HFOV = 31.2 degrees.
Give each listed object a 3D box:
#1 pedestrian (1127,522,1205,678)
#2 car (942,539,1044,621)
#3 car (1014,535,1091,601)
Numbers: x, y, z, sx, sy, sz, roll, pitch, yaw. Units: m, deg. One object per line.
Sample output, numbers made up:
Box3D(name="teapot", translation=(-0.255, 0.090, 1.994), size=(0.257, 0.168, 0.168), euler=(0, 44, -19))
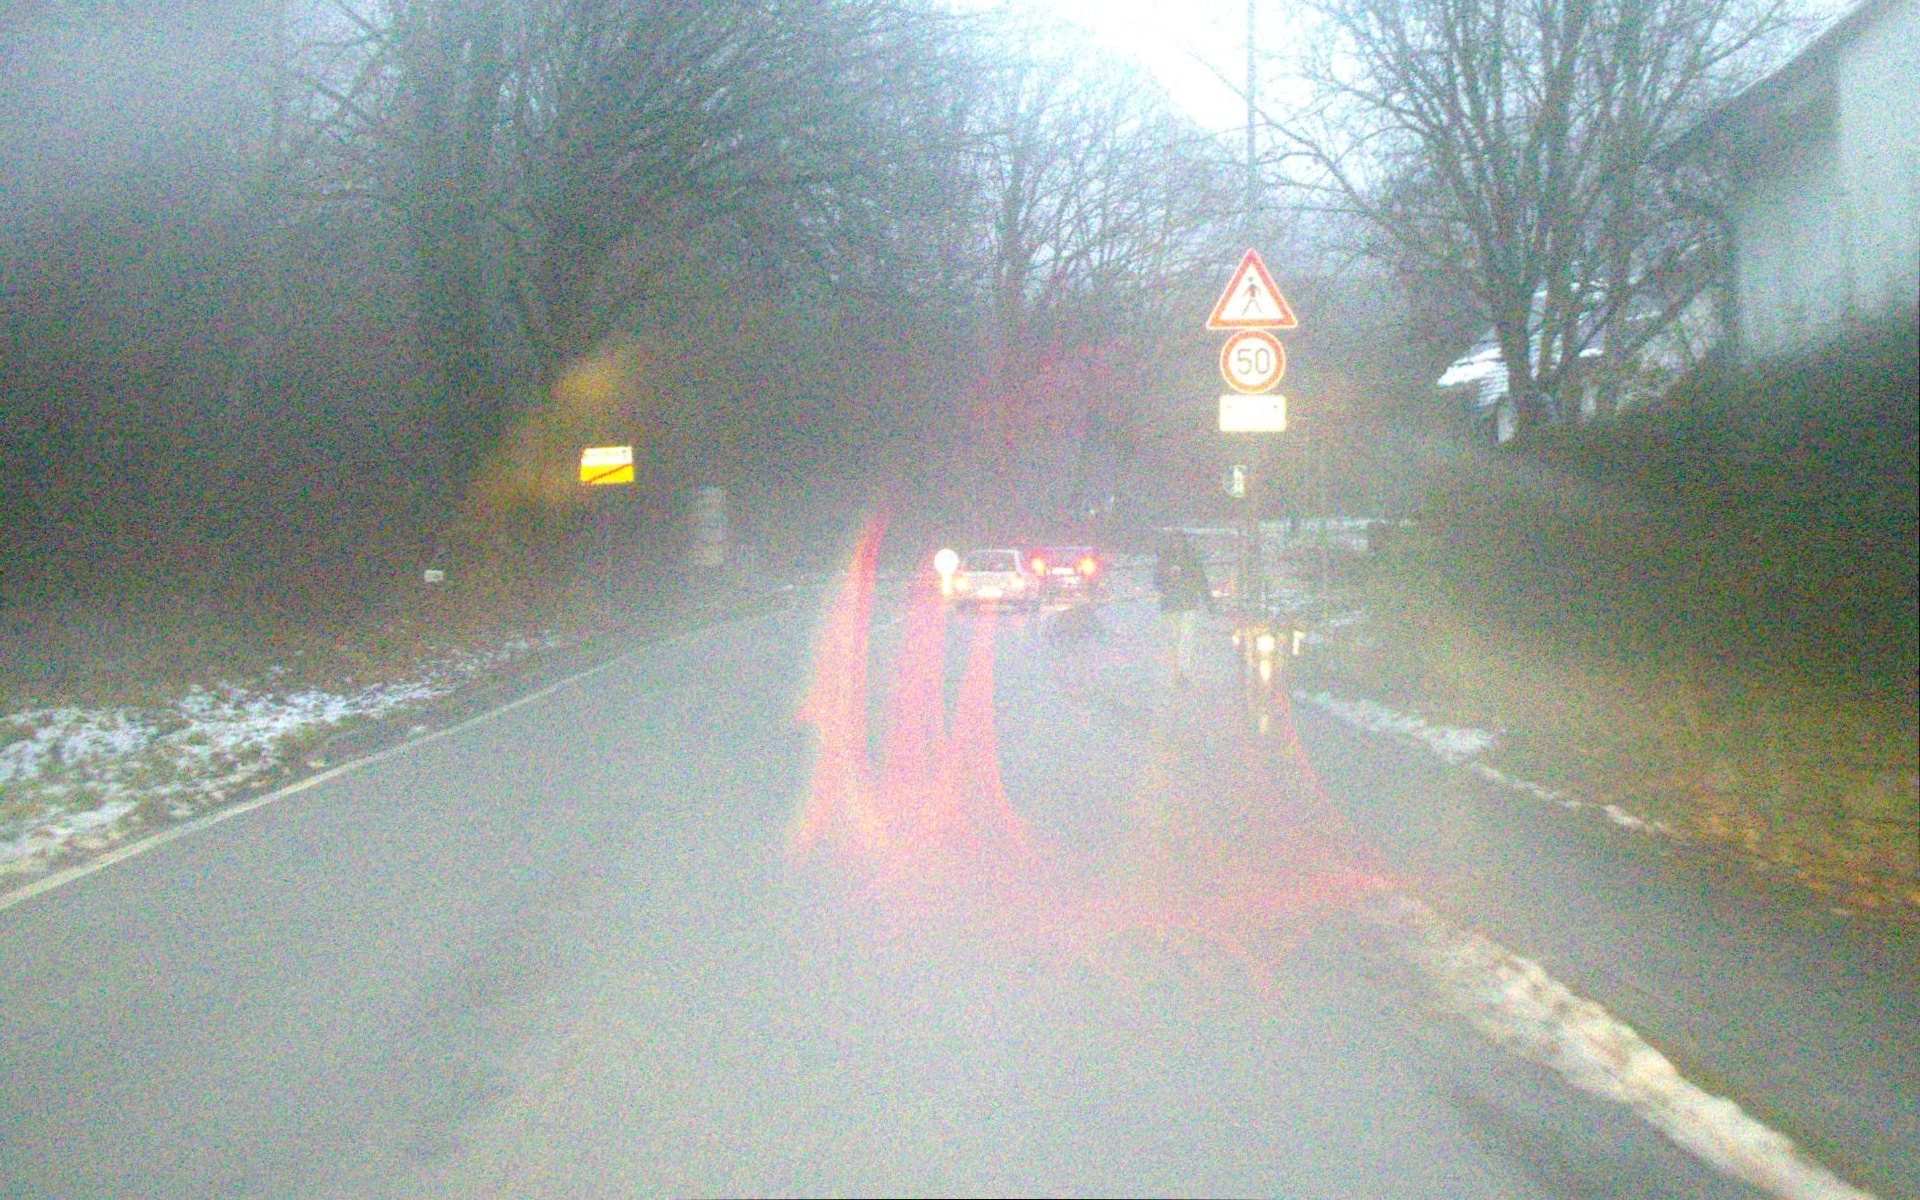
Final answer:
Box3D(name="pedestrian", translation=(2.204, -0.009, 36.796), size=(0.743, 1.649, 0.970), euler=(0, 1, -1))
Box3D(name="car", translation=(0.781, -0.482, 77.773), size=(1.933, 1.775, 3.999), euler=(0, 1, 6))
Box3D(name="car", translation=(2.459, -0.849, 90.354), size=(1.933, 1.670, 4.000), euler=(0, 1, 3))
